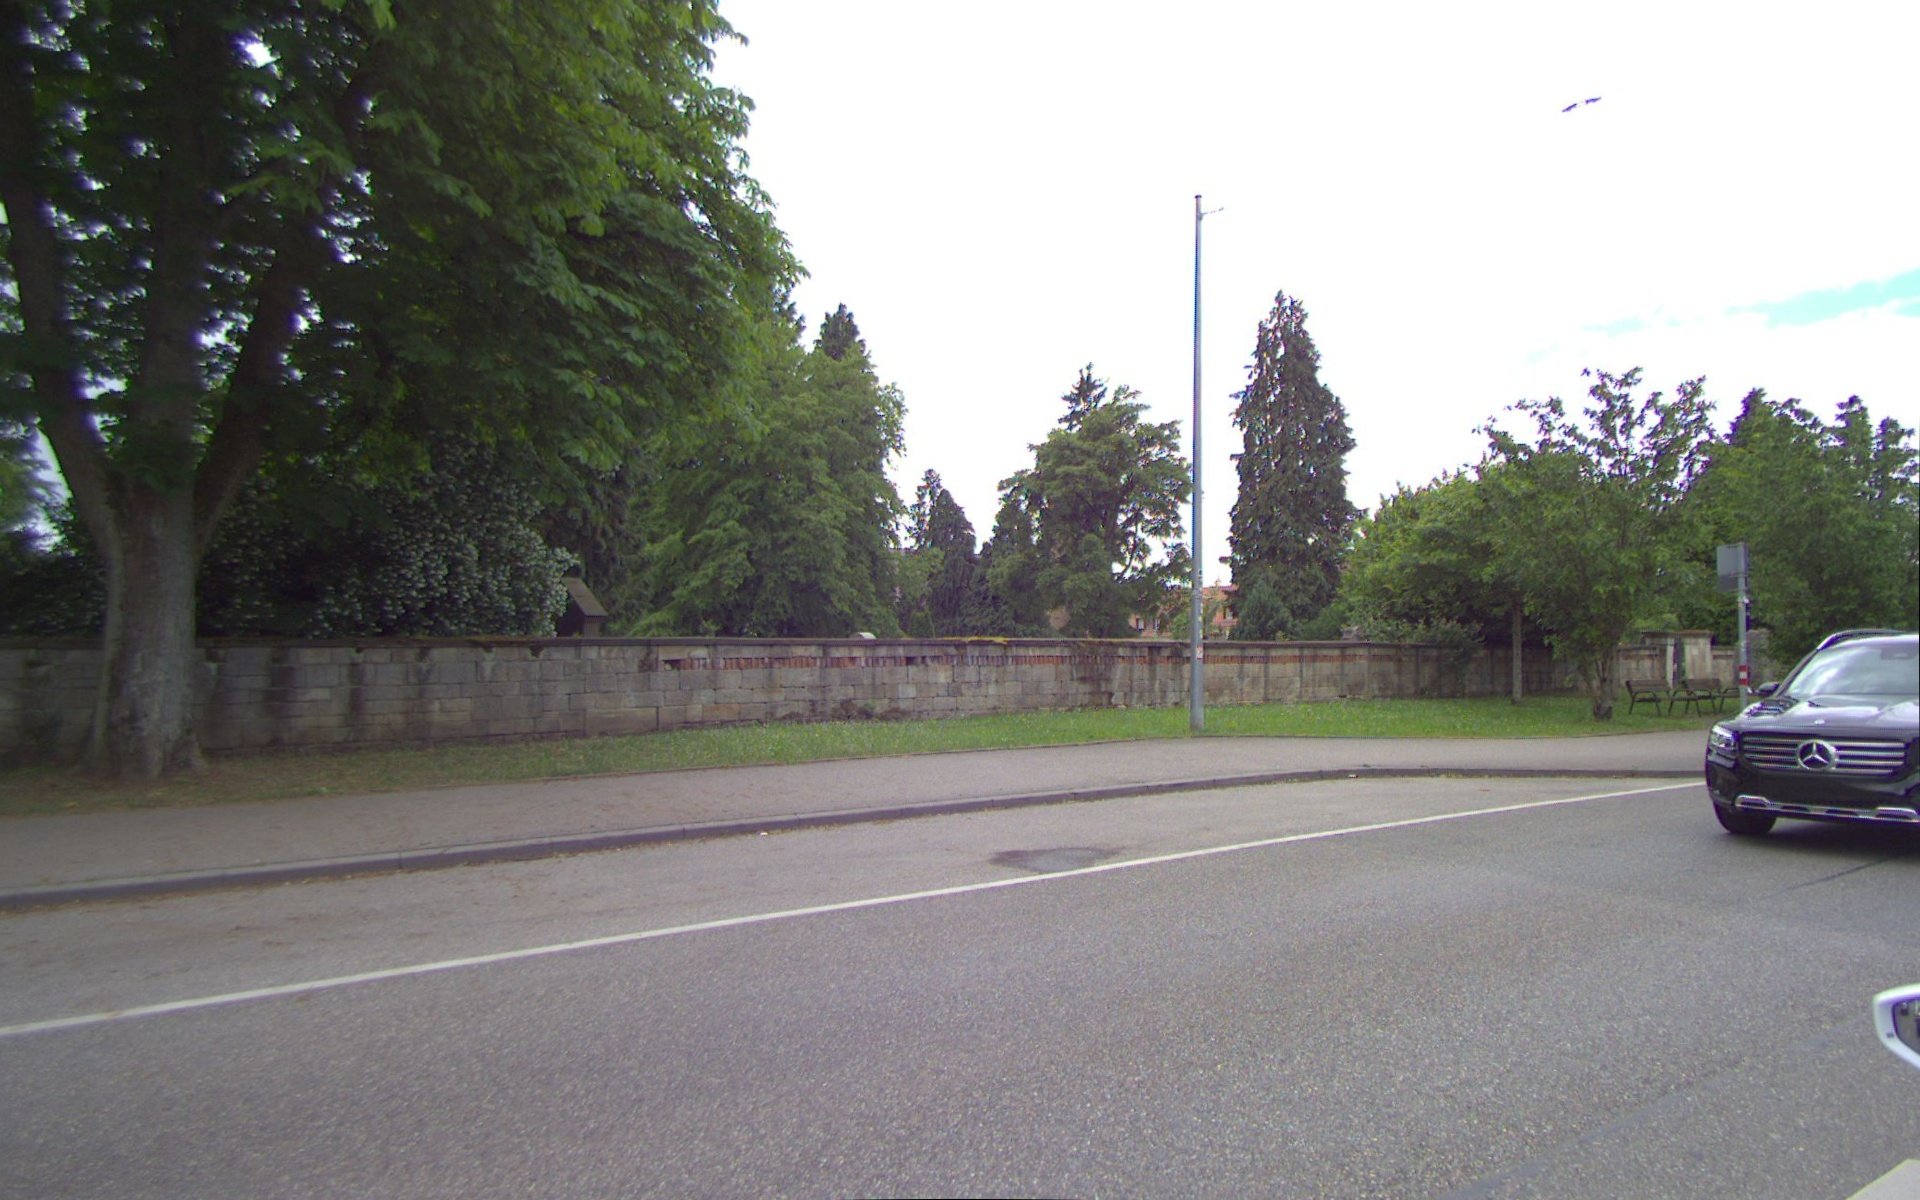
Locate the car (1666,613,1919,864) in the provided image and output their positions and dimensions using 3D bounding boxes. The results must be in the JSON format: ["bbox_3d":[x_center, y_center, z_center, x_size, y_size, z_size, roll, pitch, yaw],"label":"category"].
[{"bbox_3d":[7.889,1.030,8.234,4.080,1.665,1.872,2,-5,-31],"label":"car"}]
